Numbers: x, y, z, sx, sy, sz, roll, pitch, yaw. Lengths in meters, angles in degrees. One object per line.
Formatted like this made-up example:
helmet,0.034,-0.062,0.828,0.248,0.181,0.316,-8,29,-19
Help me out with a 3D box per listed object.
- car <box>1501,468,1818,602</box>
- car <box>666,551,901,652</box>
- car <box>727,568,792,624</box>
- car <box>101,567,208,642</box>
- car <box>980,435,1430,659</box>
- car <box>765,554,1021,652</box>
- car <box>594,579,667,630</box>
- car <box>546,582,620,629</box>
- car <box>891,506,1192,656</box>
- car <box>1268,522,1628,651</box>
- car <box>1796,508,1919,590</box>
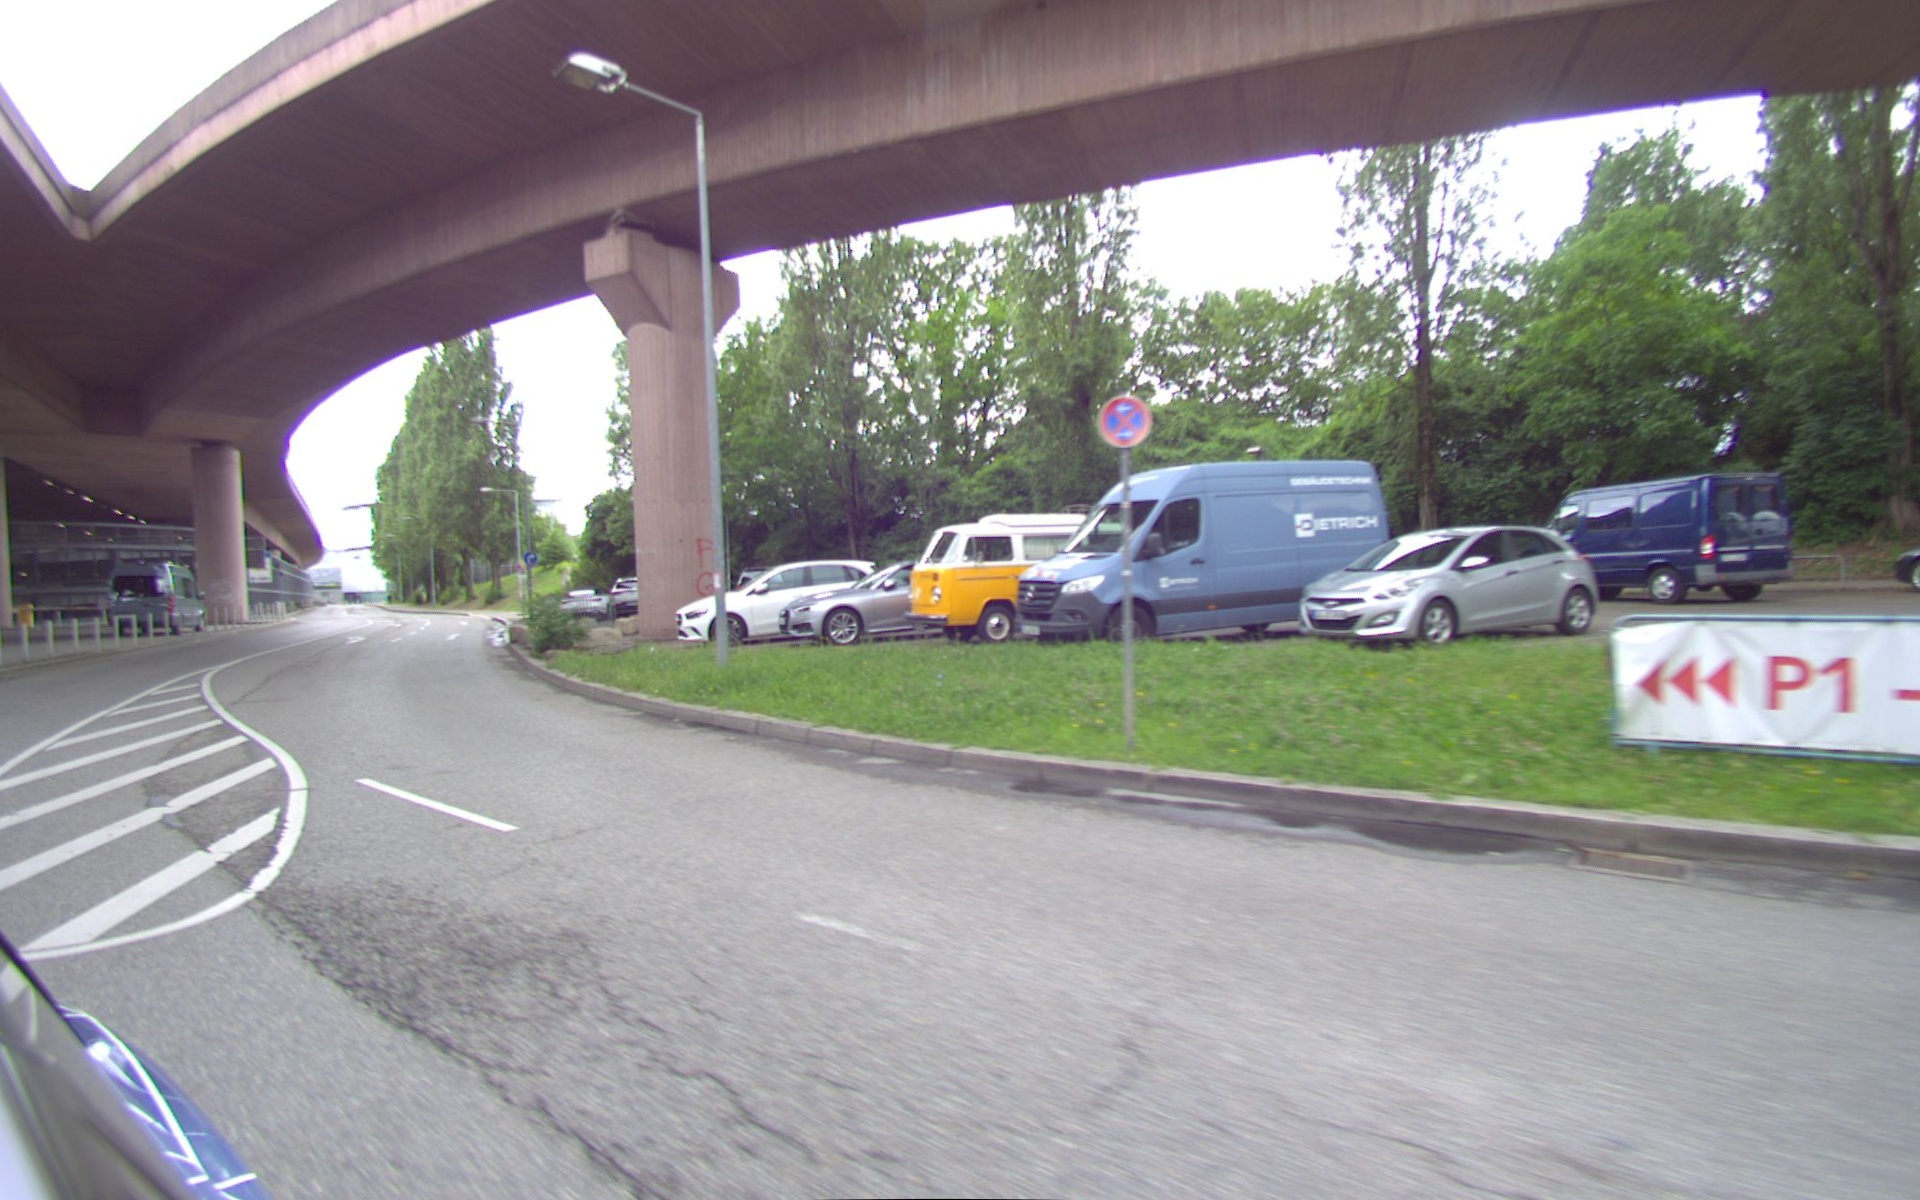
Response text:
car,13.310,-1.113,19.771,2.090,2.271,5.029,-1,0,-11
car,-3.587,-0.005,20.371,4.320,1.617,1.961,-5,1,-18
car,-6.720,-0.156,34.272,1.833,1.704,4.172,-2,1,-8
car,-30.648,0.172,38.704,1.965,2.633,6.094,-1,0,-27
car,3.619,-0.811,14.763,6.089,2.745,2.376,-3,1,-25
car,-1.258,0.012,18.510,4.185,1.381,2.006,-5,1,-21
car,-12.641,0.112,39.045,1.968,1.594,4.411,-6,3,-10
car,-15.486,0.177,41.828,1.968,1.490,4.840,-6,4,-11
car,1.347,-0.352,16.691,4.492,2.127,1.857,-3,1,-23
car,6.309,-0.187,13.058,4.219,1.426,2.006,-1,0,-27
car,18.218,-0.933,18.297,1.968,1.446,4.653,-1,0,-7
